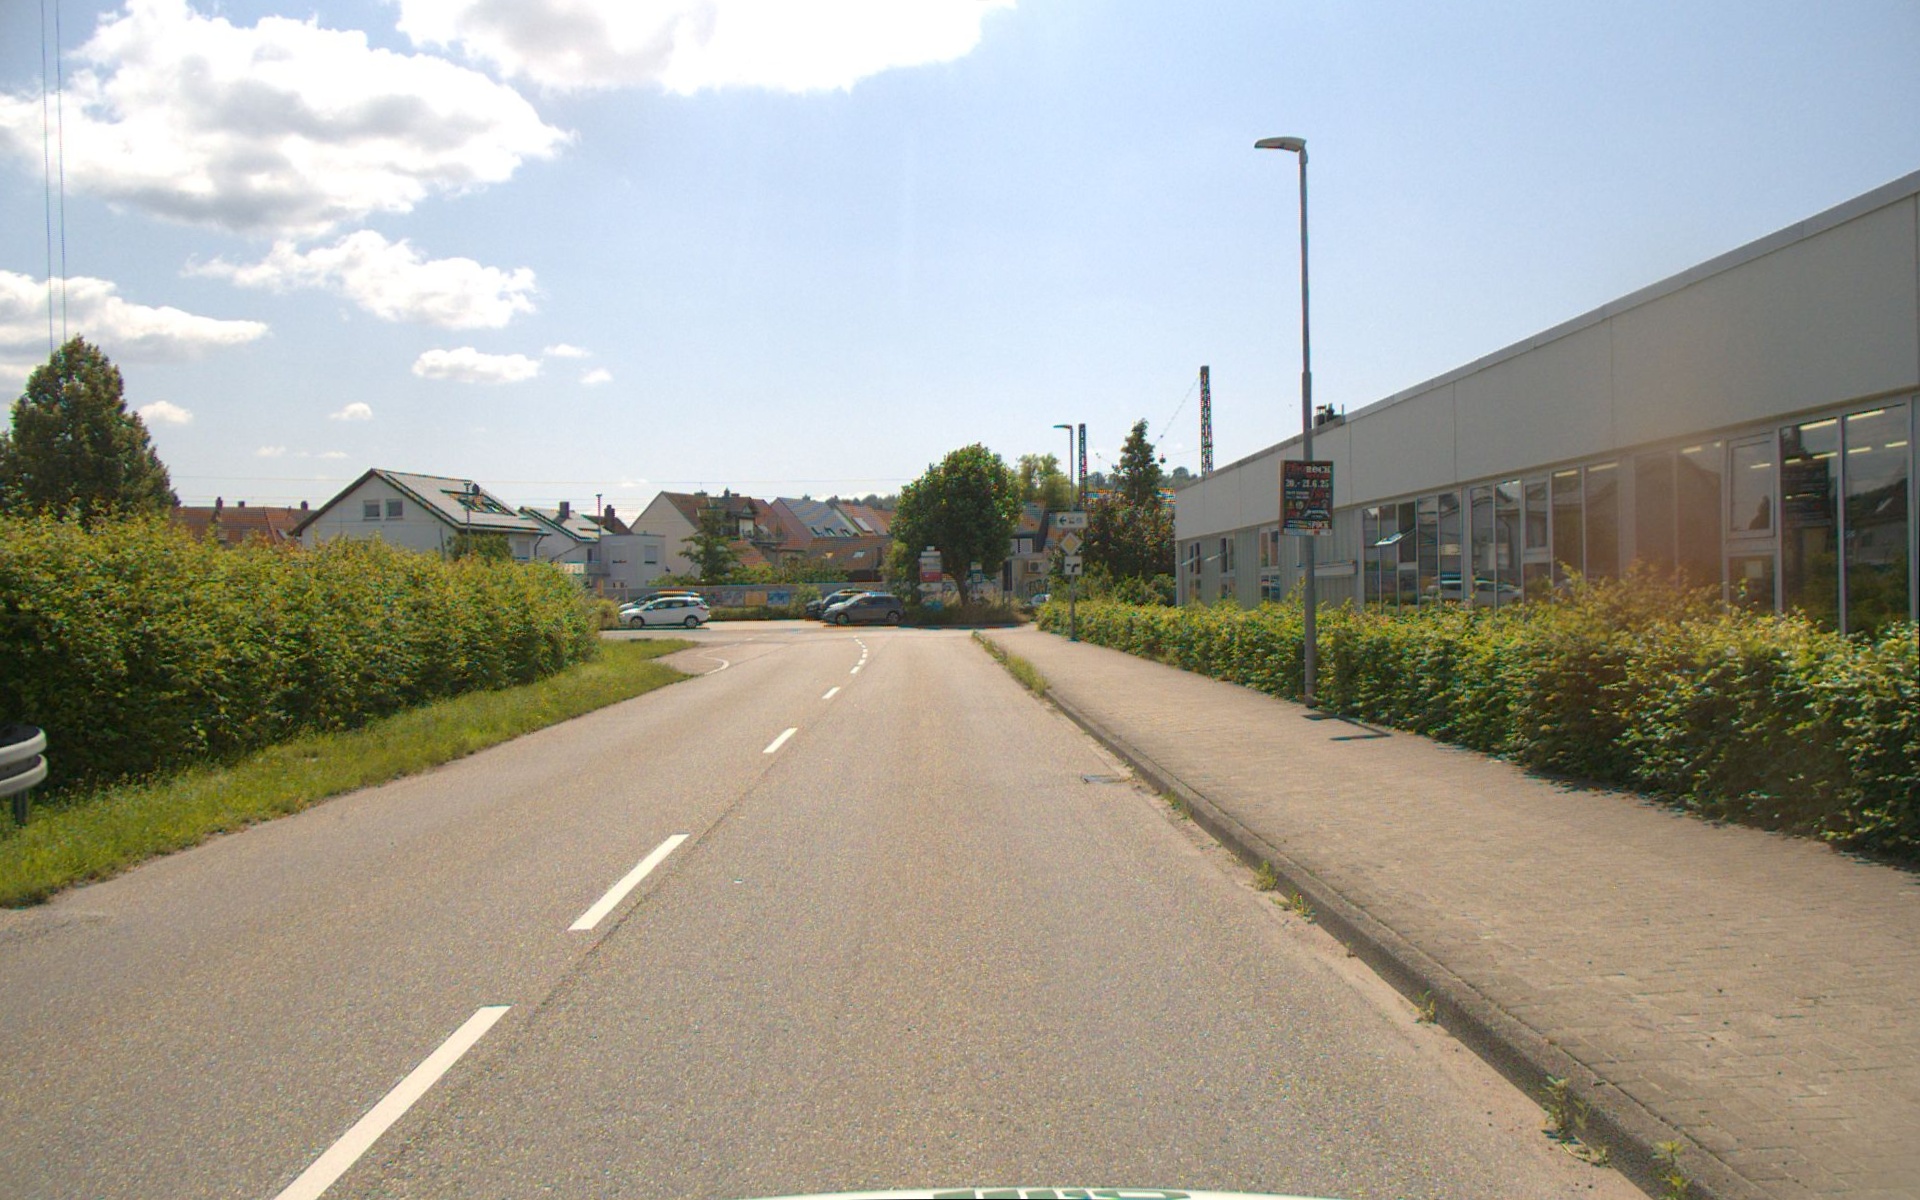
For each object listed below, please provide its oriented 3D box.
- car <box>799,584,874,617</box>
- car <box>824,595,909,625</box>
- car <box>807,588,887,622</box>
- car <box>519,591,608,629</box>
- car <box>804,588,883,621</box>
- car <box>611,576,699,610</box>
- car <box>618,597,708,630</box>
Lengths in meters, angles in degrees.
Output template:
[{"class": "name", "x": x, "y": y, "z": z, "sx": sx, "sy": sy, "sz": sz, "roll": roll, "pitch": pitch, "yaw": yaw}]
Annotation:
[{"class": "car", "x": -6.764, "y": 0.043, "z": 90.680, "sx": 3.916, "sy": 1.760, "sz": 1.765, "roll": 1, "pitch": -1, "yaw": -12}, {"class": "car", "x": -4.701, "y": 0.489, "z": 83.229, "sx": 4.112, "sy": 1.488, "sz": 1.660, "roll": 0, "pitch": -1, "yaw": -11}, {"class": "car", "x": -5.839, "y": 0.257, "z": 85.408, "sx": 3.916, "sy": 1.614, "sz": 1.775, "roll": -1, "pitch": 0, "yaw": -11}, {"class": "car", "x": -19.623, "y": 0.496, "z": 81.914, "sx": 4.097, "sy": 1.667, "sz": 1.945, "roll": -3, "pitch": 0, "yaw": -19}, {"class": "car", "x": -6.183, "y": 0.227, "z": 87.658, "sx": 3.916, "sy": 1.686, "sz": 1.994, "roll": -1, "pitch": 0, "yaw": -12}, {"class": "car", "x": -15.756, "y": -0.384, "z": 85.575, "sx": 4.371, "sy": 1.720, "sz": 1.995, "roll": 0, "pitch": 1, "yaw": -11}, {"class": "car", "x": -14.518, "y": 0.670, "z": 80.857, "sx": 4.210, "sy": 1.502, "sz": 1.821, "roll": 1, "pitch": -1, "yaw": -14}]
